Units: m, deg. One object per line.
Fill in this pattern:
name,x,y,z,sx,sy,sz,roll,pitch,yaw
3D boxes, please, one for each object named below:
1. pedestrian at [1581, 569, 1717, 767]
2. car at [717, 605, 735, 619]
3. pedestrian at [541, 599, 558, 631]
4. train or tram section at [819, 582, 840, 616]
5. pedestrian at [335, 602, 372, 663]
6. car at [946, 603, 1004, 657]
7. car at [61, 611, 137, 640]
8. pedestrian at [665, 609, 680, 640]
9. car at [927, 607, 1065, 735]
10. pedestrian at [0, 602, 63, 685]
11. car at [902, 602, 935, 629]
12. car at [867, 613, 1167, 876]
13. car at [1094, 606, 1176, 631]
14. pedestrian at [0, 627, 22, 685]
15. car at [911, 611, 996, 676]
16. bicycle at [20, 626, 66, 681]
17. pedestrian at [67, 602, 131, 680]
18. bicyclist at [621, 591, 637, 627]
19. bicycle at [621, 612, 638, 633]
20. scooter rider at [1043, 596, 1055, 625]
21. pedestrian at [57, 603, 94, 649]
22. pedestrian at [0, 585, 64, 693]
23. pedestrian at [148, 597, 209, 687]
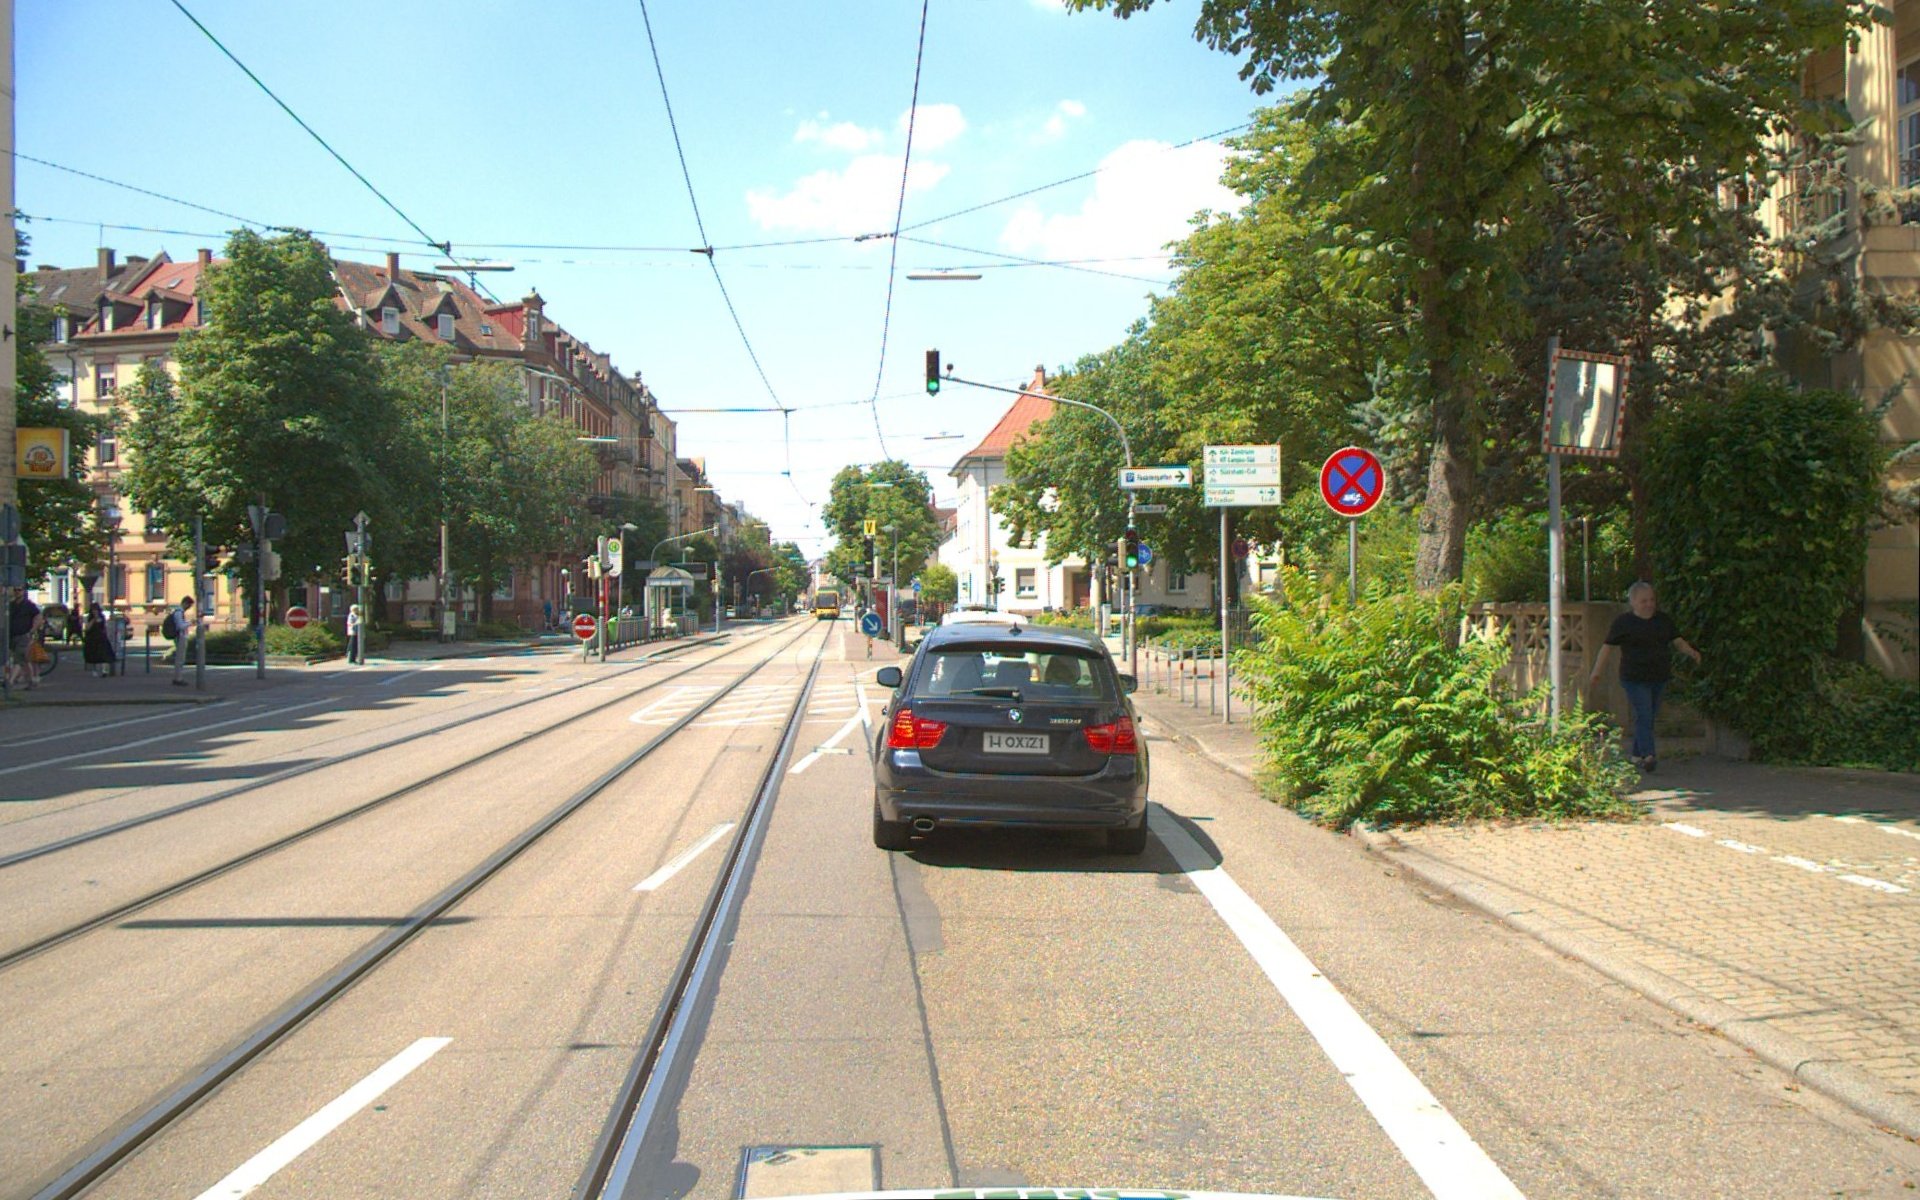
pedestrian,6.018,0.583,14.493,0.839,1.674,0.837,-1,-1,2
car,-27.119,1.379,191.765,1.756,1.614,3.987,1,-1,-12
pedestrian,-23.931,0.859,96.499,0.627,1.843,0.738,-1,0,31
train or tram section,-14.201,-0.122,179.740,2.147,3.543,8.837,-1,0,-4
pedestrian,-17.600,0.942,48.001,0.830,1.753,0.908,0,0,-34
car,0.412,0.855,48.894,1.657,1.540,3.820,0,0,-1
car,-44.816,1.326,86.137,3.388,1.497,1.685,-1,0,21
pedestrian,-11.828,1.012,68.089,0.602,1.264,0.626,0,0,-10
car,0.431,0.863,21.783,1.650,1.510,3.684,-1,0,0
pedestrian,-18.424,0.850,32.802,0.791,1.622,0.918,-1,0,-6
car,-2.989,1.110,118.944,1.956,1.881,3.993,-1,0,-8
car,0.368,0.844,11.771,1.687,1.433,4.565,2,0,1
car,9.057,0.963,85.672,3.914,1.265,1.620,-1,0,31
pedestrian,-18.936,1.093,32.148,0.897,1.096,0.882,-1,0,-3
car,-0.190,0.919,36.459,1.658,1.346,3.818,0,0,-3
bicycle,-19.773,1.152,35.641,0.539,1.148,1.657,0,-2,-41
pedestrian,-18.823,0.879,36.159,1.005,1.664,0.861,-1,0,33
bicyclist,-17.611,0.490,88.043,0.708,1.903,0.824,-1,0,-5
bicycle,-17.581,1.188,88.031,0.714,1.121,1.713,-1,0,-6
scooter rider,5.271,0.610,97.740,0.579,1.716,0.527,-1,0,-10
pedestrian,-36.858,1.087,68.925,0.979,1.901,1.018,-1,-1,2
pedestrian,-17.021,0.694,30.058,0.883,1.924,1.163,0,0,-5
pedestrian,-15.698,0.839,33.232,0.842,1.763,0.775,1,0,-2
